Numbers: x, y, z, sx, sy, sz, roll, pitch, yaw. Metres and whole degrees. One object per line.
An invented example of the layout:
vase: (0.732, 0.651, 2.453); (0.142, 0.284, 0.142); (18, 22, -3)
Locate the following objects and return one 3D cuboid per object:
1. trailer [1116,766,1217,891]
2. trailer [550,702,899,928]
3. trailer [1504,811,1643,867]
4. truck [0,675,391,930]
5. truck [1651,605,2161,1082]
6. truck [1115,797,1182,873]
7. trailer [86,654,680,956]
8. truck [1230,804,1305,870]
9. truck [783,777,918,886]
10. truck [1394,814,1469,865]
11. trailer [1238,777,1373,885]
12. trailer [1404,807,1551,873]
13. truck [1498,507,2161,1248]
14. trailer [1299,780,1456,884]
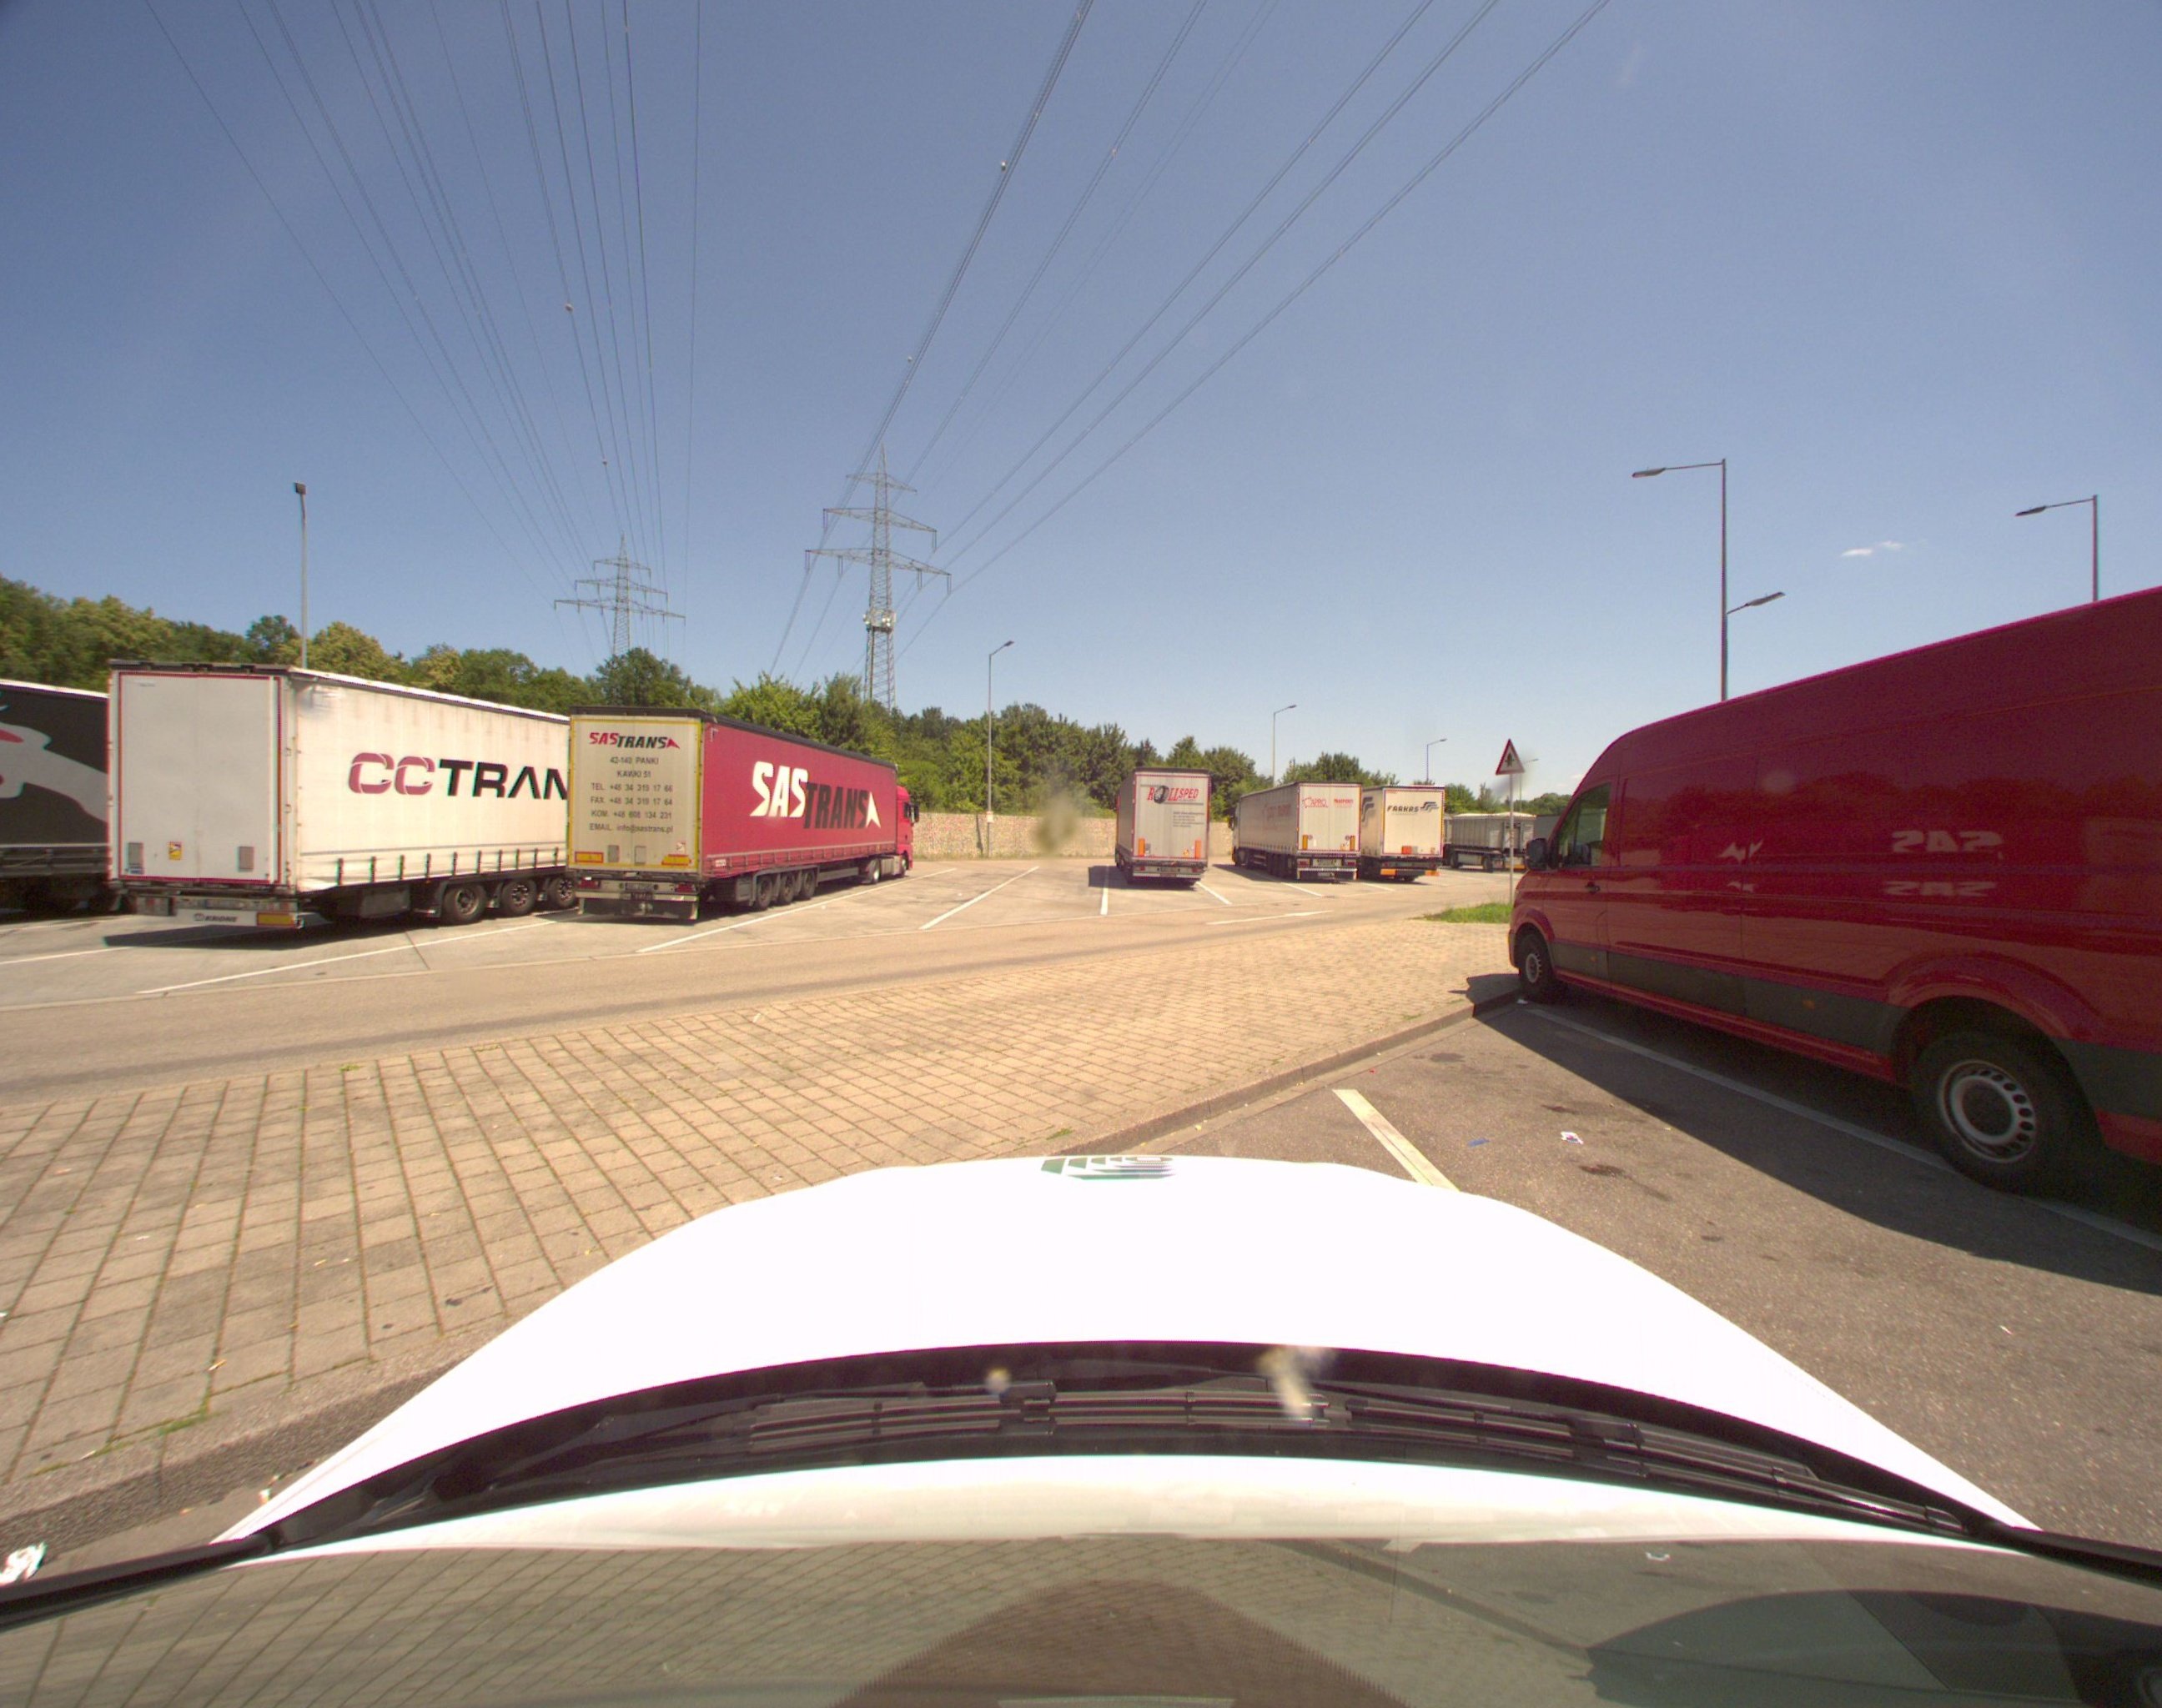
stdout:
trailer: (3.048, -1.042, 33.188); (2.848, 3.971, 13.767); (1, 2, 1)
trailer: (-8.047, -0.922, 21.705); (2.811, 4.070, 13.770); (1, 2, 2)
trailer: (38.222, -1.287, 64.158); (2.847, 3.904, 13.770); (1, 2, 2)
truck: (-18.550, -0.933, 15.809); (2.696, 4.070, 8.694); (1, 2, 2)
truck: (8.001, -0.070, 6.864); (2.406, 2.906, 6.466); (-1, 0, 6)
truck: (3.139, -0.932, 39.390); (2.855, 3.362, 5.977); (1, 2, 2)
trailer: (-12.162, -0.837, 16.401); (2.696, 4.101, 10.395); (1, 2, 2)
truck: (10.179, -0.970, 45.042); (2.855, 3.362, 5.977); (1, 2, 2)
truck: (-7.832, -0.788, 28.522); (2.801, 3.362, 5.977); (1, 2, 2)
truck: (24.627, -1.073, 57.574); (2.855, 3.362, 5.977); (1, 2, 2)
trailer: (9.980, -1.113, 38.278); (2.847, 4.109, 13.770); (1, 2, 2)
trailer: (24.441, -0.986, 51.477); (2.847, 3.599, 13.770); (1, 2, 2)
truck: (5.141, 0.080, 5.431); (2.001, 2.651, 6.466); (-1, 0, 6)
trailer: (13.608, -1.088, 39.202); (2.847, 4.109, 13.770); (1, 2, 2)
